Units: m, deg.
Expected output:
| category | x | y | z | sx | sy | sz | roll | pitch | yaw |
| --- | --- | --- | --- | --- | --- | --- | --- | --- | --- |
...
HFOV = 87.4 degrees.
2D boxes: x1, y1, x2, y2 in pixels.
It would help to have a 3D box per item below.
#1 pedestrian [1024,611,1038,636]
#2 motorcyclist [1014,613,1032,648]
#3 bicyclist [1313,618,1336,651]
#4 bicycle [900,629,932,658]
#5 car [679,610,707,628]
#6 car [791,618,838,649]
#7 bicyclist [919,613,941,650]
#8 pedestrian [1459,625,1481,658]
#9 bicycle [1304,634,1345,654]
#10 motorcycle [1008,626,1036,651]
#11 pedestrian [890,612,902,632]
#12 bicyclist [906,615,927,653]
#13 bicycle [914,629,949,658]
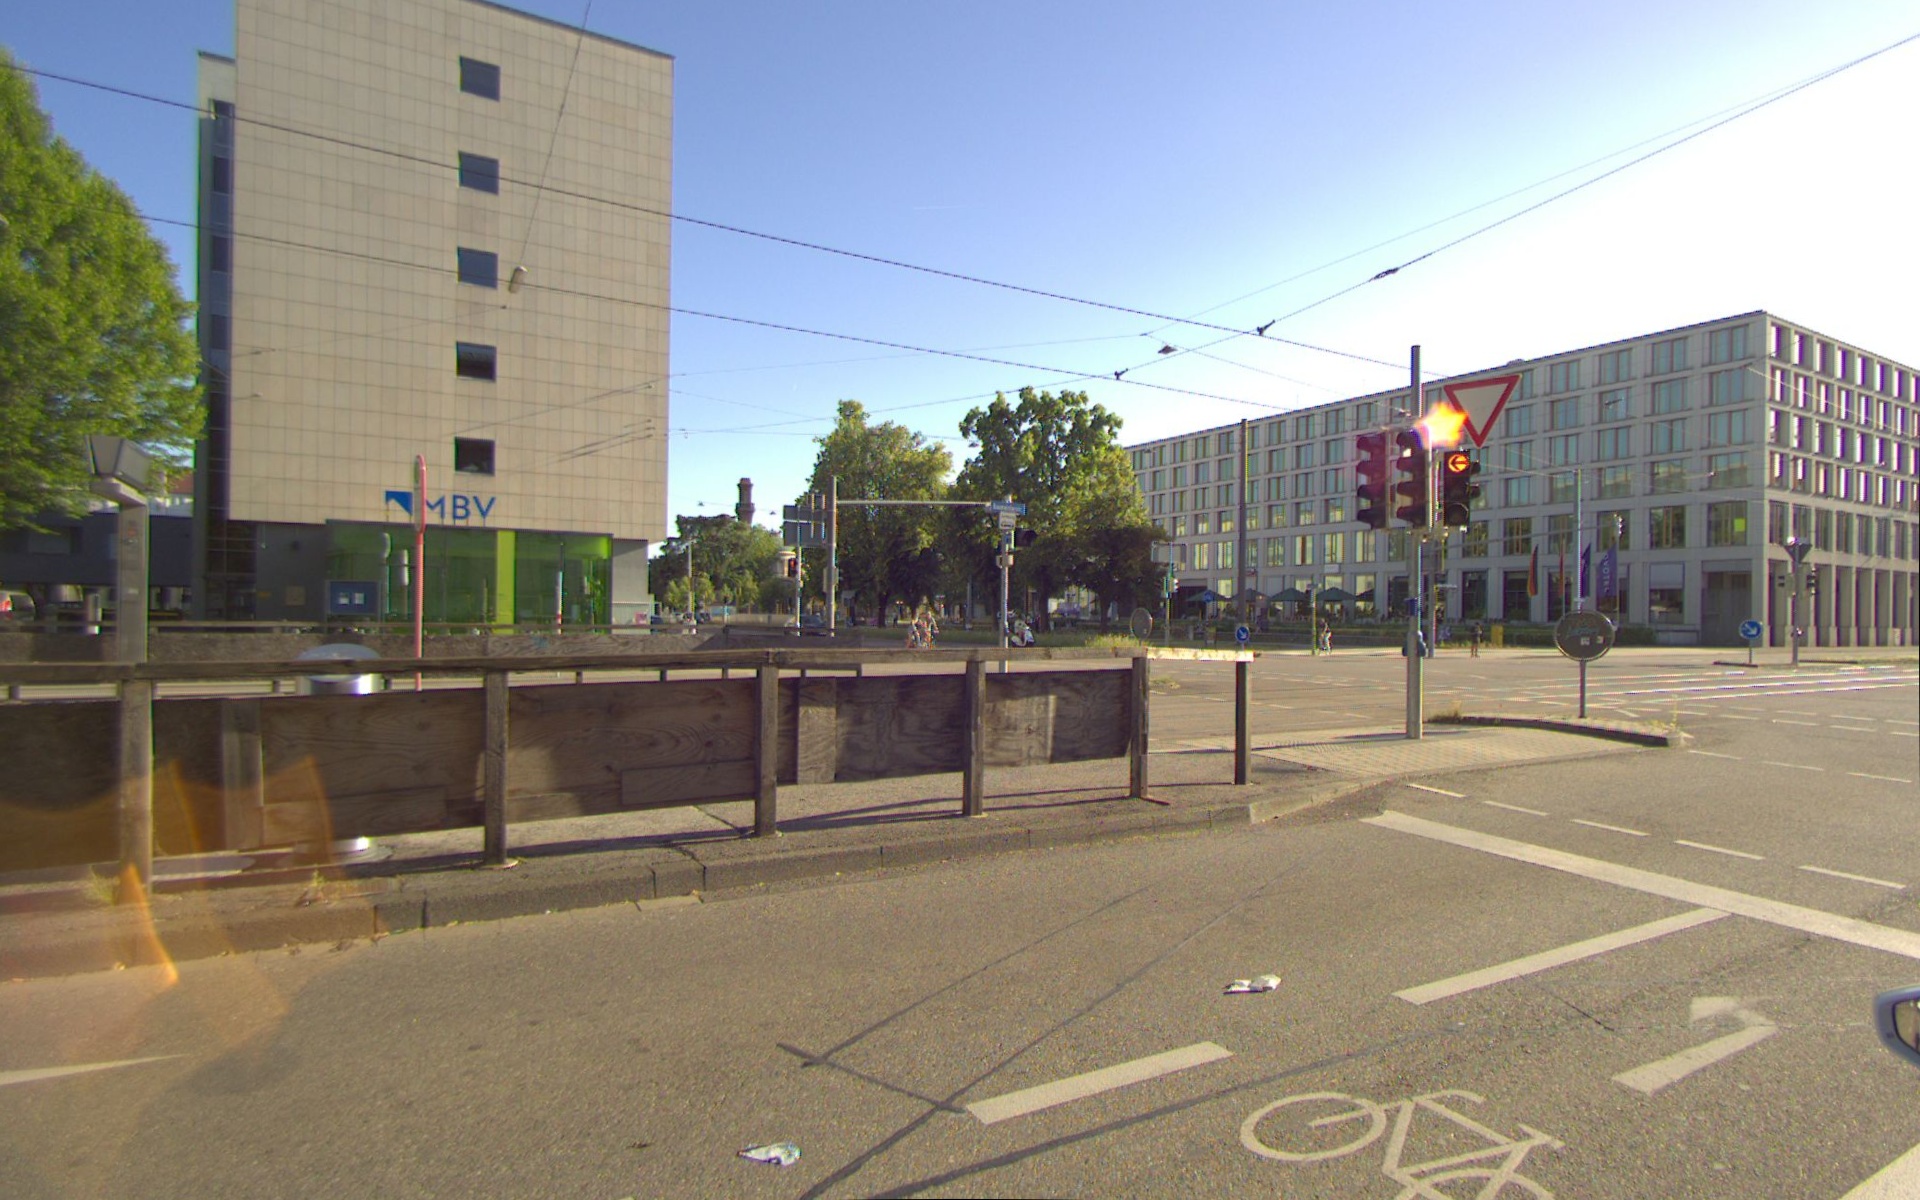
| category | x | y | z | sx | sy | sz | roll | pitch | yaw |
| --- | --- | --- | --- | --- | --- | --- | --- | --- | --- |
| pedestrian | 5.624 | 1.849 | 79.600 | 0.864 | 1.925 | 0.712 | 2 | 0 | -30 |
| motorcyclist | 2.932 | 1.416 | 46.760 | 0.561 | 1.598 | 0.643 | 1 | -1 | -34 |
| bicyclist | 17.863 | 1.698 | 49.234 | 0.765 | 1.610 | 0.758 | 1 | -1 | -19 |
| bicycle | -1.838 | 1.790 | 41.715 | 0.574 | 1.148 | 1.776 | 1 | -1 | -31 |
| car | -25.567 | 1.800 | 96.044 | 1.613 | 1.639 | 3.618 | 2 | 0 | -32 |
| car | -8.726 | 1.979 | 59.937 | 1.611 | 1.639 | 3.623 | 2 | 0 | -28 |
| bicyclist | -1.260 | 1.333 | 42.216 | 0.602 | 1.544 | 0.709 | 1 | -1 | -32 |
| pedestrian | 24.927 | 2.015 | 49.062 | 0.584 | 1.610 | 0.771 | 1 | -1 | -30 |
| bicycle | 17.865 | 2.174 | 49.224 | 1.835 | 0.947 | 0.759 | 1 | -1 | -21 |
| motorcycle | 2.902 | 1.790 | 46.791 | 0.524 | 1.153 | 1.449 | 1 | -1 | -34 |
| pedestrian | -6.439 | 2.230 | 101.285 | 0.816 | 2.040 | 0.837 | 2 | 0 | -34 |
| bicyclist | -1.816 | 1.394 | 41.691 | 0.647 | 1.544 | 0.615 | 1 | -1 | -32 |
| bicycle | -1.226 | 1.820 | 42.137 | 0.616 | 1.148 | 1.869 | 1 | -1 | -31 |
